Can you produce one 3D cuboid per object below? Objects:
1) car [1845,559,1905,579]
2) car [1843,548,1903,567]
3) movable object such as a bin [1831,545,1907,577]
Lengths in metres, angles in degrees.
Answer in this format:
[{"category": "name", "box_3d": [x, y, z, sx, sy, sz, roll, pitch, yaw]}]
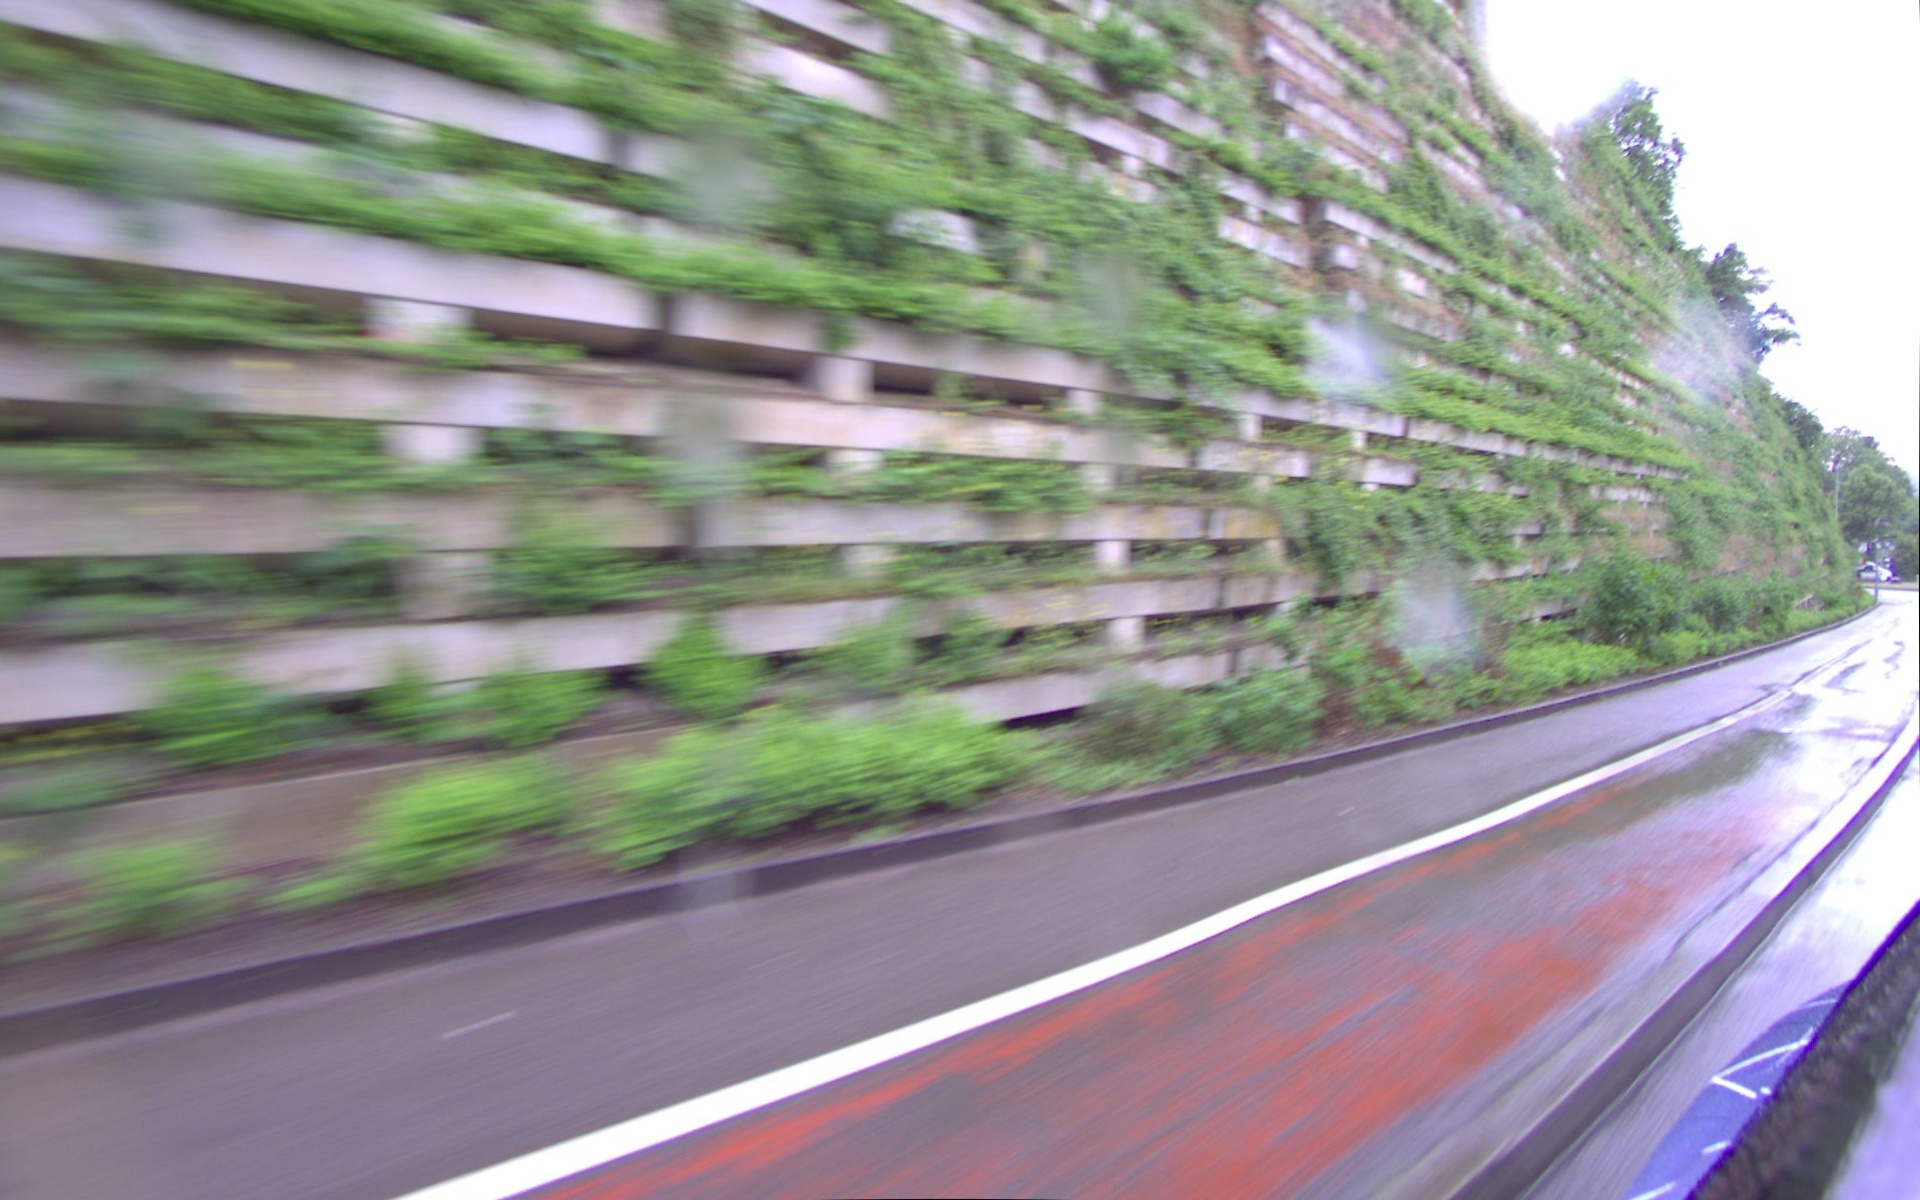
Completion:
[{"category": "car", "box_3d": [86.433, -2.951, 95.626, 1.643, 1.592, 3.992, -3, 6, -44]}, {"category": "car", "box_3d": [94.438, -4.436, 104.696, 1.890, 1.786, 4.383, -2, 6, -43]}, {"category": "movable object such as a bin", "box_3d": [82.241, -3.584, 91.687, 2.274, 2.718, 5.689, 2, 3, 10]}]
